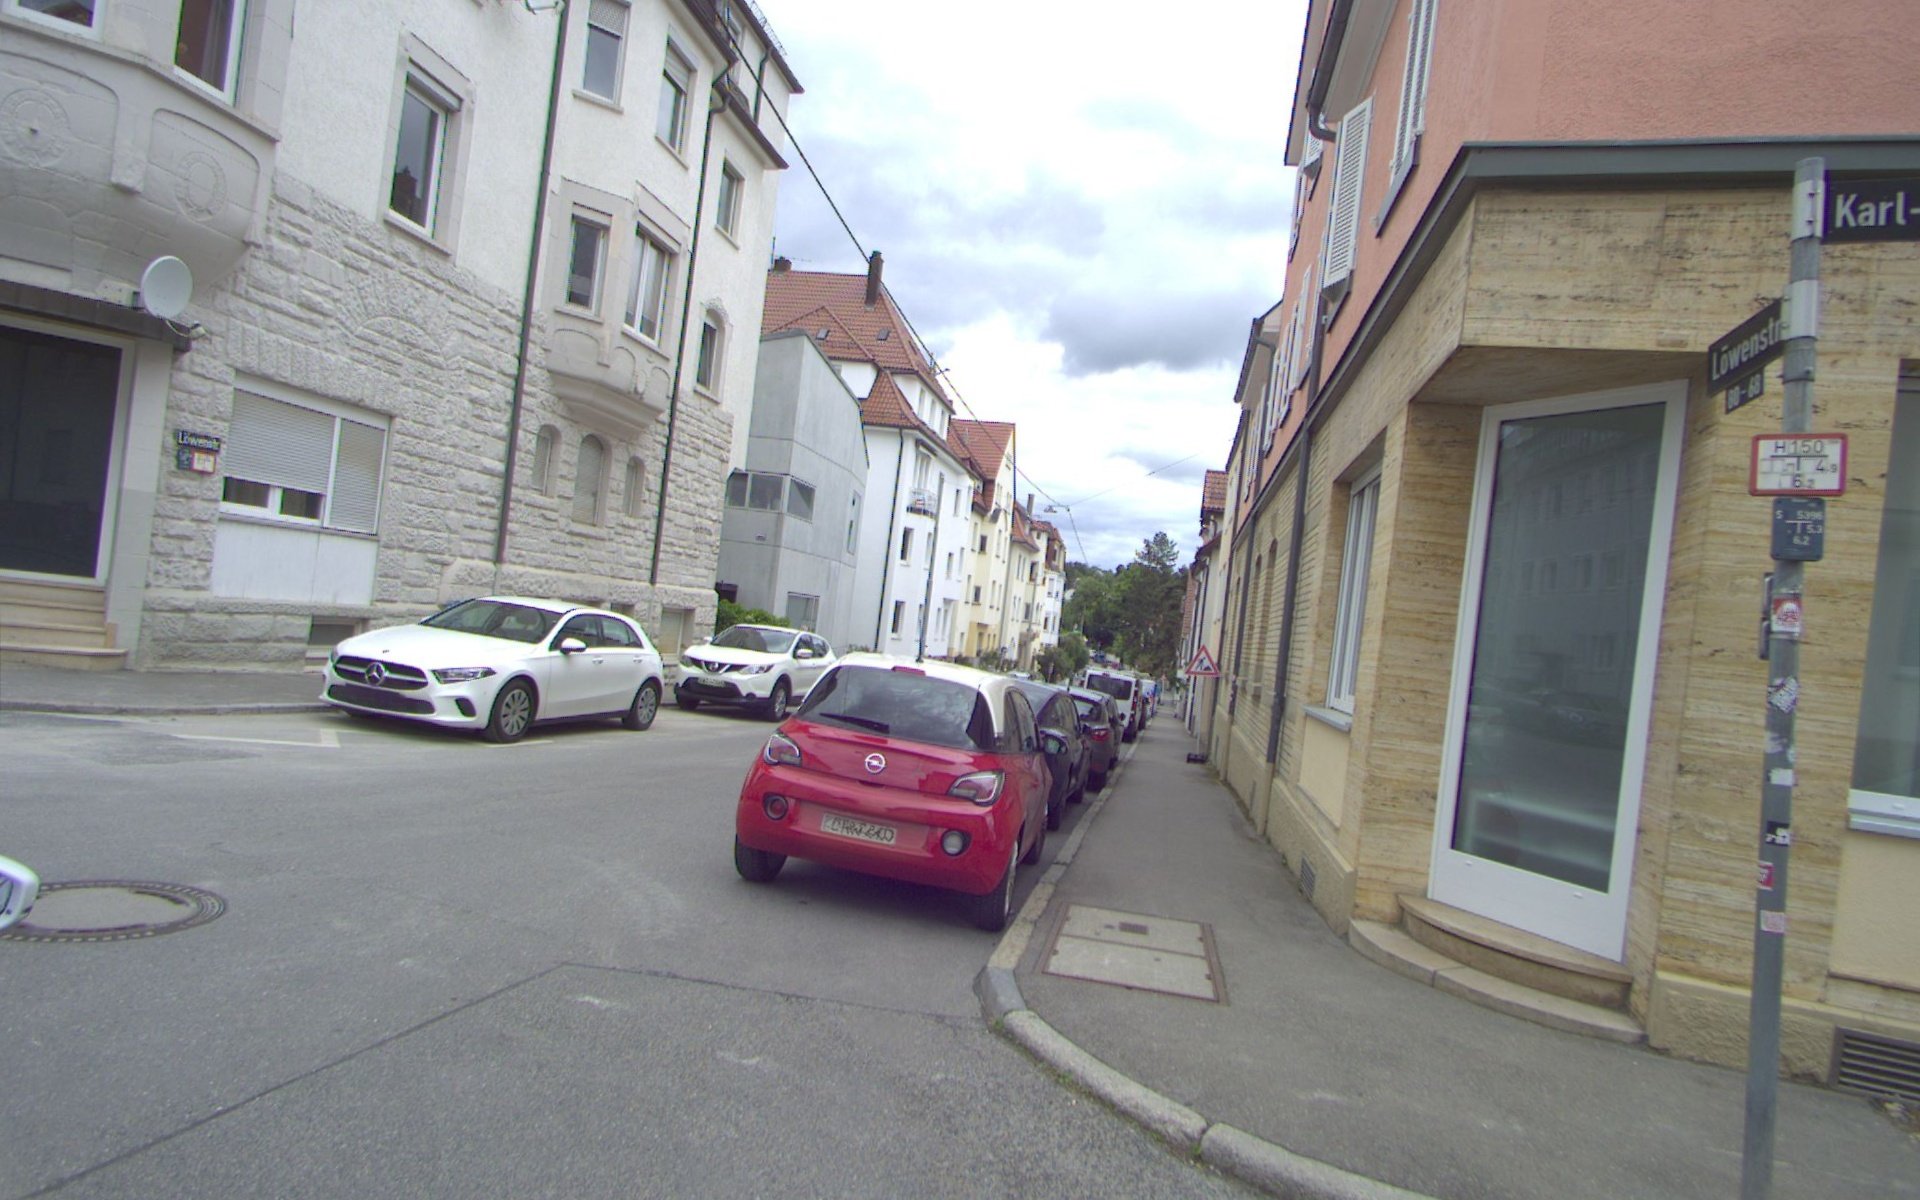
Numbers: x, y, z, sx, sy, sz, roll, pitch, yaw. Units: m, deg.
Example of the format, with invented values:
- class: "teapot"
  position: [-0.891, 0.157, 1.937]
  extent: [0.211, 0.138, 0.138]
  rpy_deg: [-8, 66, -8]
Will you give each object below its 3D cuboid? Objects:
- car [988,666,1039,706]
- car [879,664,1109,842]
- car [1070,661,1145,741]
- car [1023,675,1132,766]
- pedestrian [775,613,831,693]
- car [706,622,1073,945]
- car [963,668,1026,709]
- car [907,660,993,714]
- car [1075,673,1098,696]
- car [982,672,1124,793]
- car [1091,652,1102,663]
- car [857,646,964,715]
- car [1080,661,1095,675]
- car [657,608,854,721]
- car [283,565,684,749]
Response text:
- class: "car"
  position: [2.666, 4.198, 49.480]
  extent: [1.815, 1.649, 4.294]
  rpy_deg: [7, -3, 11]
- class: "car"
  position: [0.627, 1.662, 11.955]
  extent: [1.823, 1.418, 4.300]
  rpy_deg: [9, -3, 13]
- class: "car"
  position: [4.863, 3.202, 32.433]
  extent: [1.875, 2.052, 5.743]
  rpy_deg: [9, -3, 11]
- class: "car"
  position: [2.617, 2.516, 21.414]
  extent: [1.823, 1.418, 4.586]
  rpy_deg: [9, -4, 11]
- class: "pedestrian"
  position: [-3.965, 1.344, 25.428]
  extent: [0.806, 1.905, 0.845]
  rpy_deg: [5, -3, 35]
- class: "car"
  position: [-0.207, 1.108, 7.231]
  extent: [1.641, 1.495, 3.632]
  rpy_deg: [7, -3, 10]
- class: "car"
  position: [1.559, 3.875, 43.765]
  extent: [1.815, 1.473, 4.514]
  rpy_deg: [6, -4, 12]
- class: "car"
  position: [-0.236, 2.906, 33.683]
  extent: [1.815, 1.428, 5.071]
  rpy_deg: [7, -3, 11]
- class: "car"
  position: [11.627, 7.736, 92.260]
  extent: [1.815, 1.835, 4.553]
  rpy_deg: [6, -3, 10]
- class: "car"
  position: [1.626, 2.030, 16.324]
  extent: [1.823, 1.418, 3.974]
  rpy_deg: [9, -3, 9]
- class: "car"
  position: [25.745, 10.850, 189.670]
  extent: [1.609, 1.557, 3.529]
  rpy_deg: [9, 1, 4]
- class: "car"
  position: [-1.285, 2.260, 28.221]
  extent: [1.866, 1.544, 4.479]
  rpy_deg: [7, -3, 11]
- class: "car"
  position: [19.885, 10.607, 156.814]
  extent: [1.647, 1.677, 3.863]
  rpy_deg: [6, 0, 0]
- class: "car"
  position: [-3.438, 1.169, 17.833]
  extent: [1.815, 1.532, 4.248]
  rpy_deg: [7, -3, 11]
- class: "car"
  position: [-4.854, 0.664, 11.068]
  extent: [1.672, 1.429, 4.248]
  rpy_deg: [7, -3, 11]
